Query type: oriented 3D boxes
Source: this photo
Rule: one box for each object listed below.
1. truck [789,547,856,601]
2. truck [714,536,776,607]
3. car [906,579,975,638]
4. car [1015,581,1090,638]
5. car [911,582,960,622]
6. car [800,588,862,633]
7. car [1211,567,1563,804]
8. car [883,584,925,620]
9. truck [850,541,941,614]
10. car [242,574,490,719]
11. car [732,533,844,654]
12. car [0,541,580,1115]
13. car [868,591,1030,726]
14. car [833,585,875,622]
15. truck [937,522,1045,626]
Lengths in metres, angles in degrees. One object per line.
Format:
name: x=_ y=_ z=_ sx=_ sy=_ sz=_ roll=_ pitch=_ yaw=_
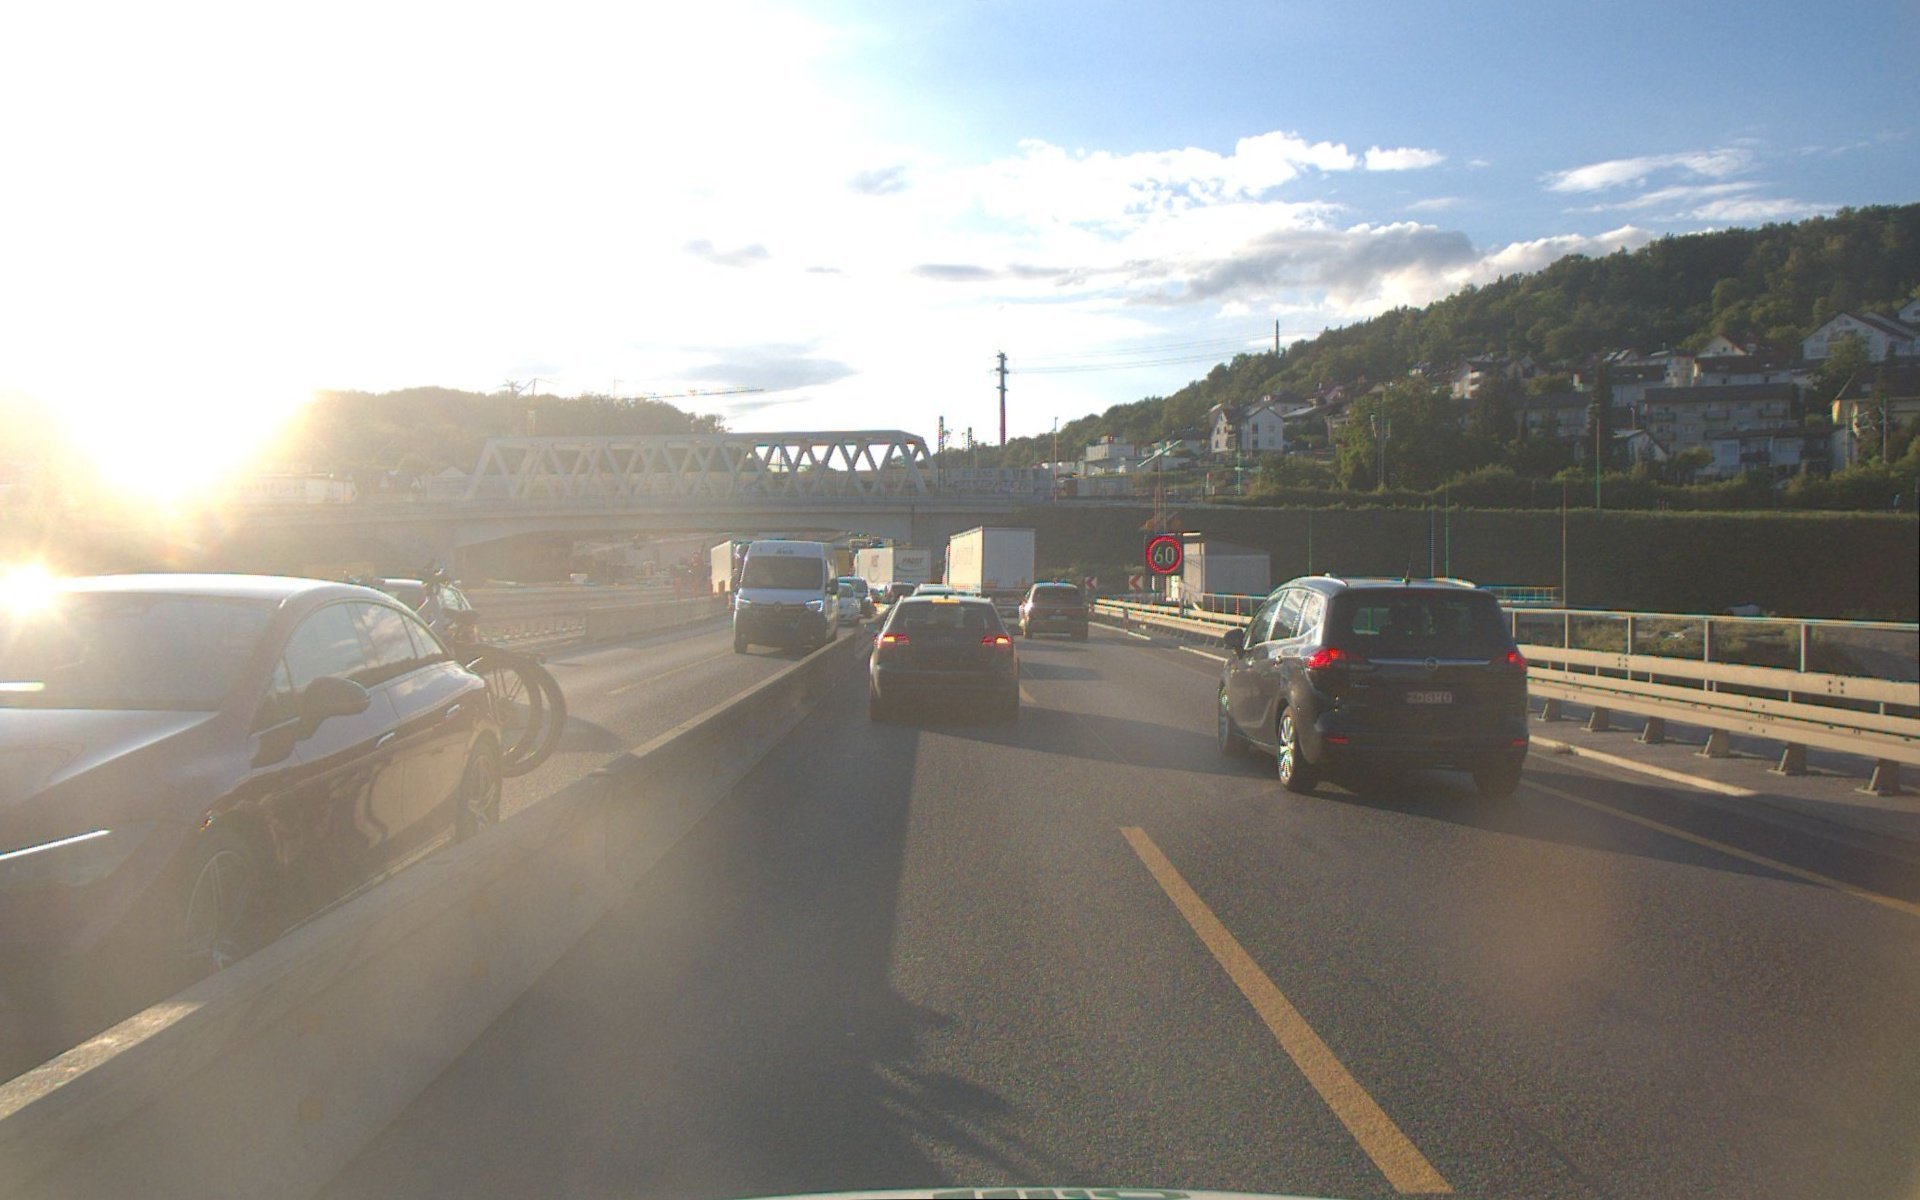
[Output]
truck: x=-12.516 y=-2.398 z=149.447 sx=3.825 sy=4.576 sz=13.799 roll=1 pitch=1 yaw=-14
truck: x=-12.825 y=-1.674 z=98.004 sx=2.878 sy=3.958 sz=10.235 roll=1 pitch=0 yaw=-11
car: x=-0.578 y=0.217 z=45.824 sx=1.730 sy=1.512 sz=3.998 roll=2 pitch=0 yaw=-2
car: x=2.708 y=0.259 z=49.242 sx=1.735 sy=1.579 sz=3.998 roll=2 pitch=0 yaw=-3
car: x=-1.026 y=0.043 z=66.908 sx=1.730 sy=1.512 sz=3.997 roll=2 pitch=0 yaw=-4
car: x=-4.578 y=0.357 z=59.150 sx=1.884 sy=1.523 sz=4.367 roll=1 pitch=0 yaw=-1
car: x=3.396 y=0.602 z=14.067 sx=1.777 sy=1.661 sz=4.410 roll=1 pitch=0 yaw=-1
car: x=-2.900 y=0.098 z=84.611 sx=1.667 sy=1.763 sz=3.993 roll=1 pitch=1 yaw=-8
truck: x=-4.655 y=-1.496 z=113.890 sx=3.821 sy=4.577 sz=15.223 roll=1 pitch=0 yaw=-11
car: x=-7.084 y=0.502 z=20.166 sx=1.584 sy=1.579 sz=4.087 roll=0 pitch=0 yaw=-1
car: x=-3.855 y=-0.156 z=38.150 sx=2.031 sy=2.501 sz=6.265 roll=1 pitch=0 yaw=-2
car: x=-3.289 y=0.595 z=7.366 sx=1.953 sy=1.557 sz=5.780 roll=1 pitch=0 yaw=-1
car: x=-0.185 y=0.625 z=19.976 sx=1.734 sy=1.414 sz=3.999 roll=1 pitch=0 yaw=-2
car: x=-4.626 y=0.144 z=72.505 sx=1.756 sy=1.566 sz=4.364 roll=1 pitch=0 yaw=-4
truck: x=1.307 y=-1.205 z=82.128 sx=3.321 sy=4.577 sz=15.245 roll=1 pitch=0 yaw=-6
